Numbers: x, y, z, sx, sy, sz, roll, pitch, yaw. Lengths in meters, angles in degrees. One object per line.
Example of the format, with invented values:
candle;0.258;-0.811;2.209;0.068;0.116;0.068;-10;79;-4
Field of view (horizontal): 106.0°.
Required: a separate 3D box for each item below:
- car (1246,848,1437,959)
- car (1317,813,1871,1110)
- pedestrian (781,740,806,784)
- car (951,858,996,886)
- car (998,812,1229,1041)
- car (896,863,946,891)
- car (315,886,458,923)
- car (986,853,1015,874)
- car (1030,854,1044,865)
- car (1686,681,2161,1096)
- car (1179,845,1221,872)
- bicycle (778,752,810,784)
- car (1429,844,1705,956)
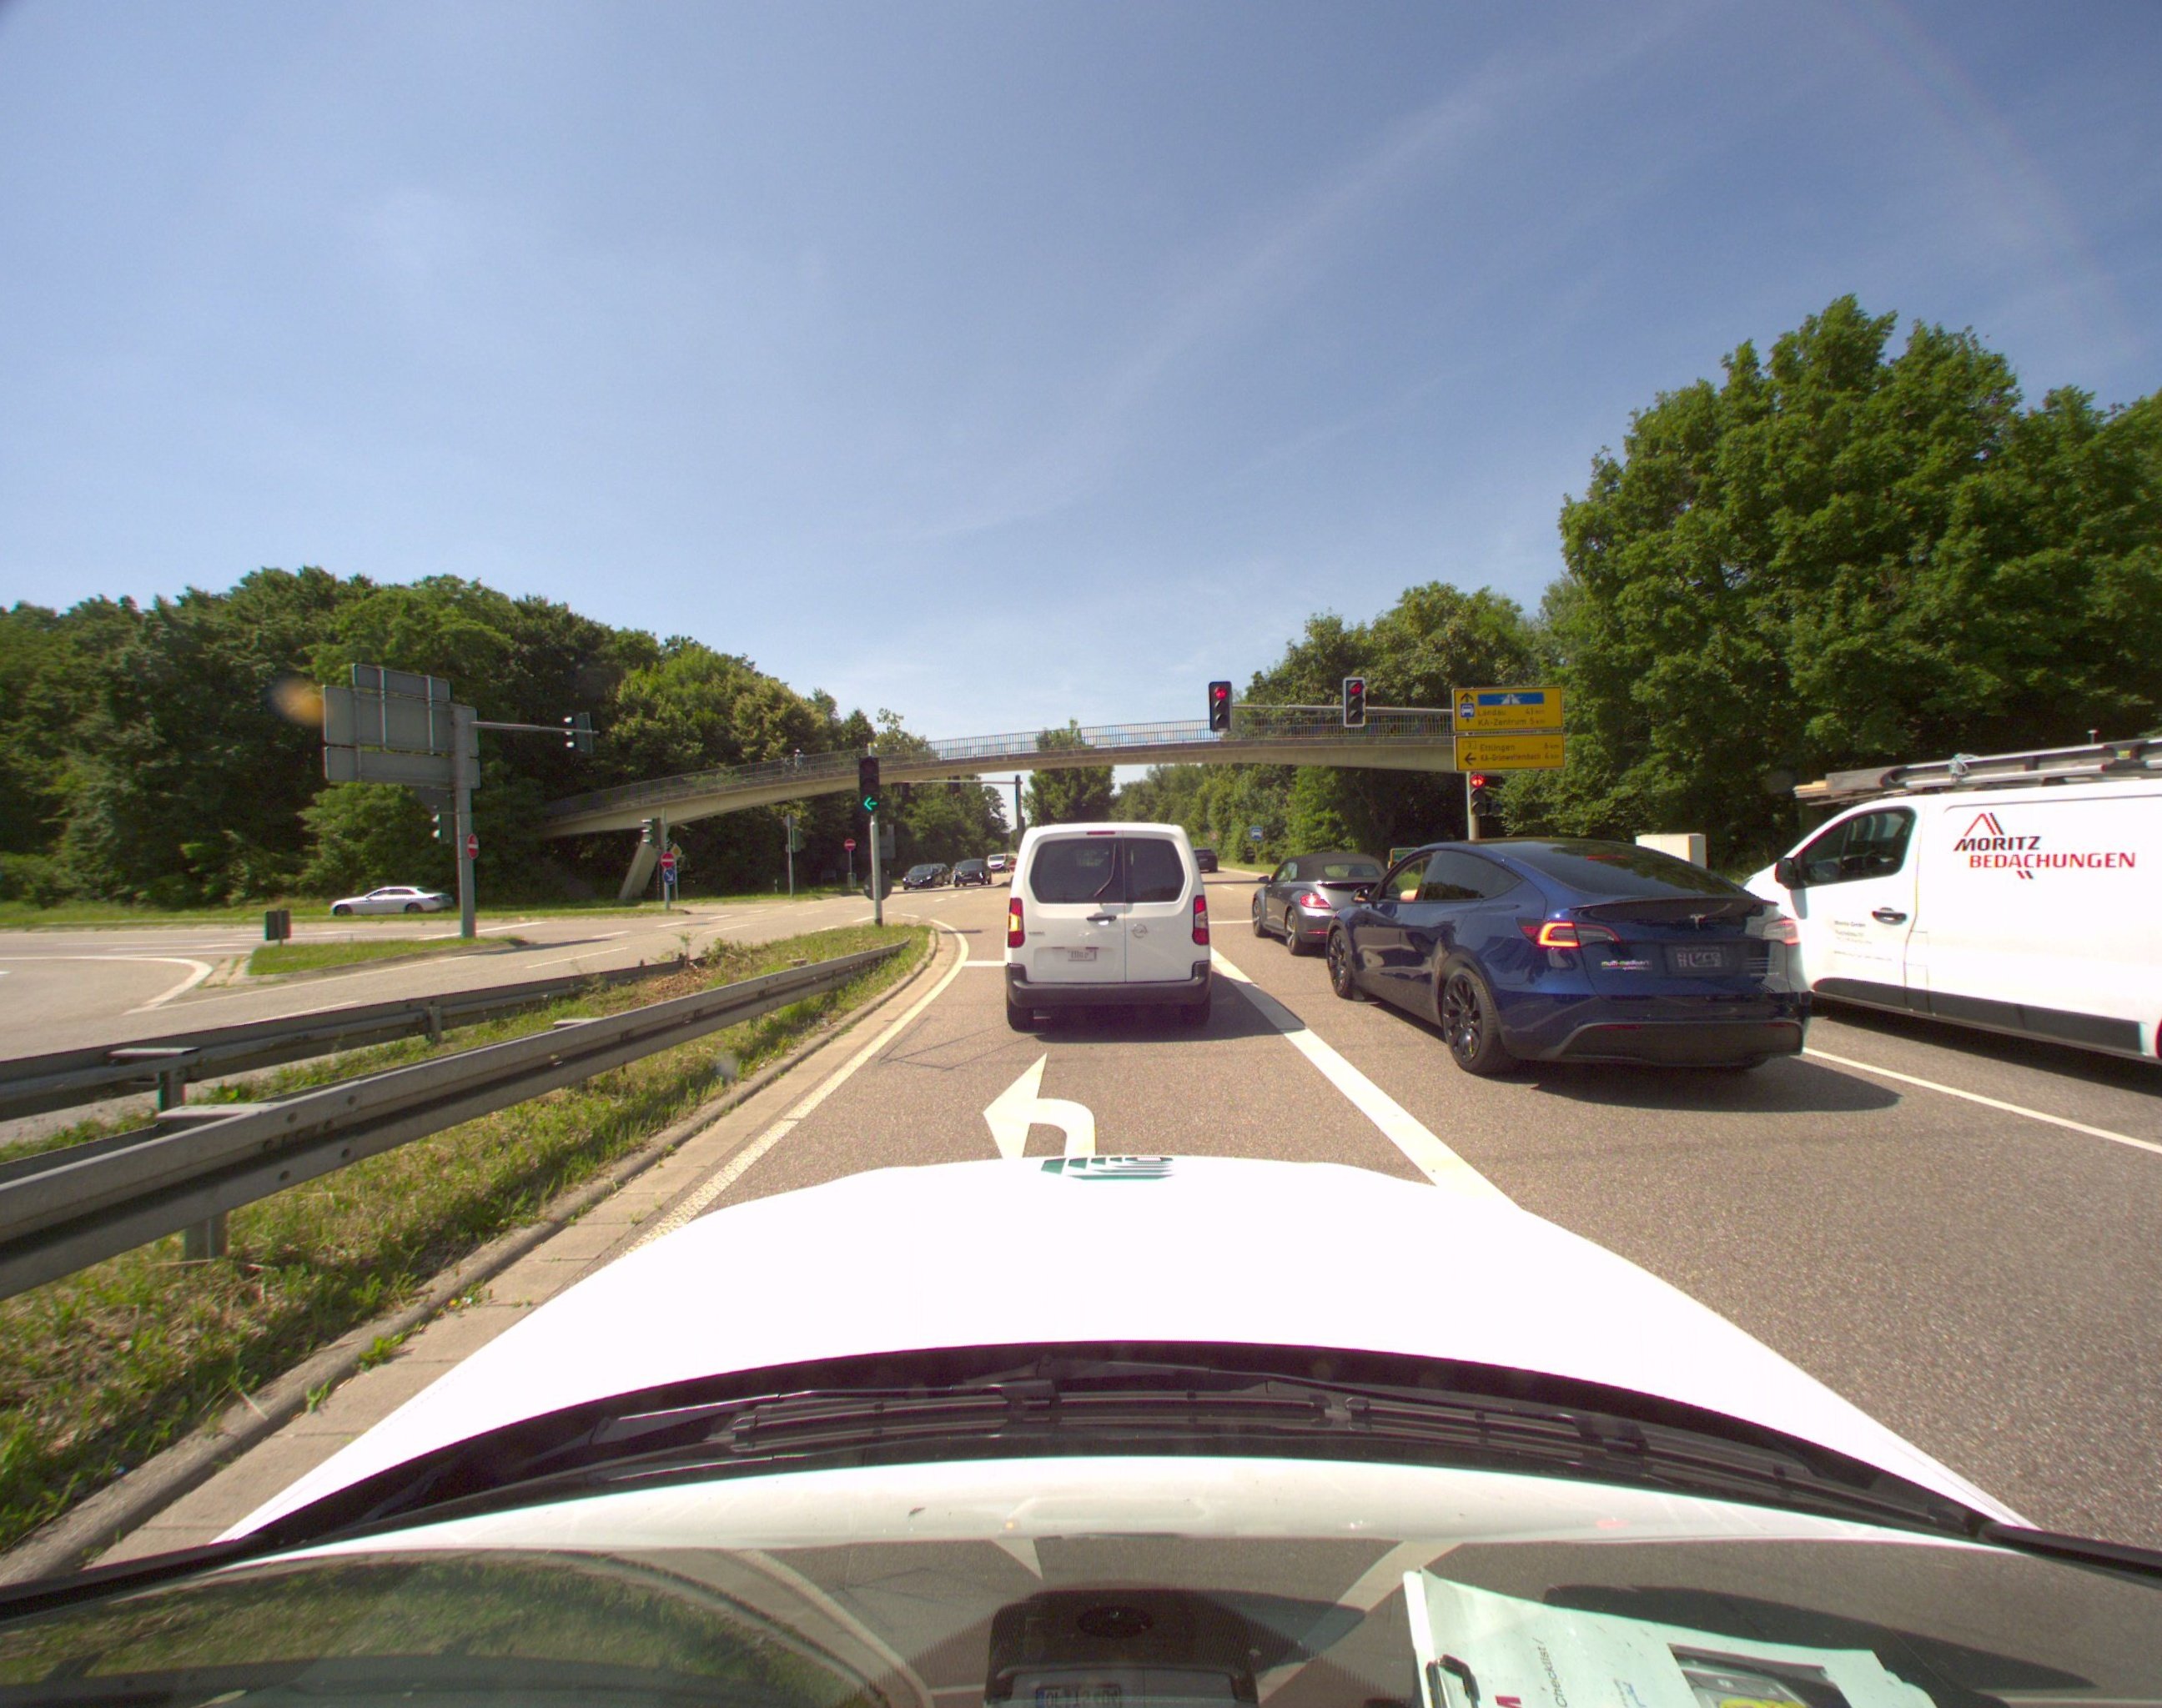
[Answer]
car;3.931;0.667;13.010;1.893;1.478;3.940;-1;0;2
car;3.516;0.600;6.813;1.893;1.644;4.522;-1;0;2
pedestrian;-15.224;-4.866;43.116;0.776;2.139;0.936;-4;-2;17
car;-6.244;1.030;47.845;1.986;1.523;4.029;-1;0;2
car;0.298;0.563;8.551;1.843;1.825;3.982;-1;1;1
car;-9.649;1.340;49.405;2.001;1.460;4.057;-4;0;2
car;-33.290;2.409;39.217;4.774;1.373;1.990;-3;0;-15
car;-8.457;0.997;85.685;2.200;1.993;5.490;-3;0;2
car;-8.301;1.028;154.048;2.200;1.993;4.735;-3;0;2
car;7.107;0.188;5.781;1.925;2.349;5.076;-1;0;1
car;7.845;0.286;54.023;2.035;1.699;5.086;-2;0;0
bicycle;-15.100;-4.533;42.817;1.514;1.474;0.472;-4;-2;17
car;7.375;0.605;12.984;1.893;1.478;4.382;-1;0;2
